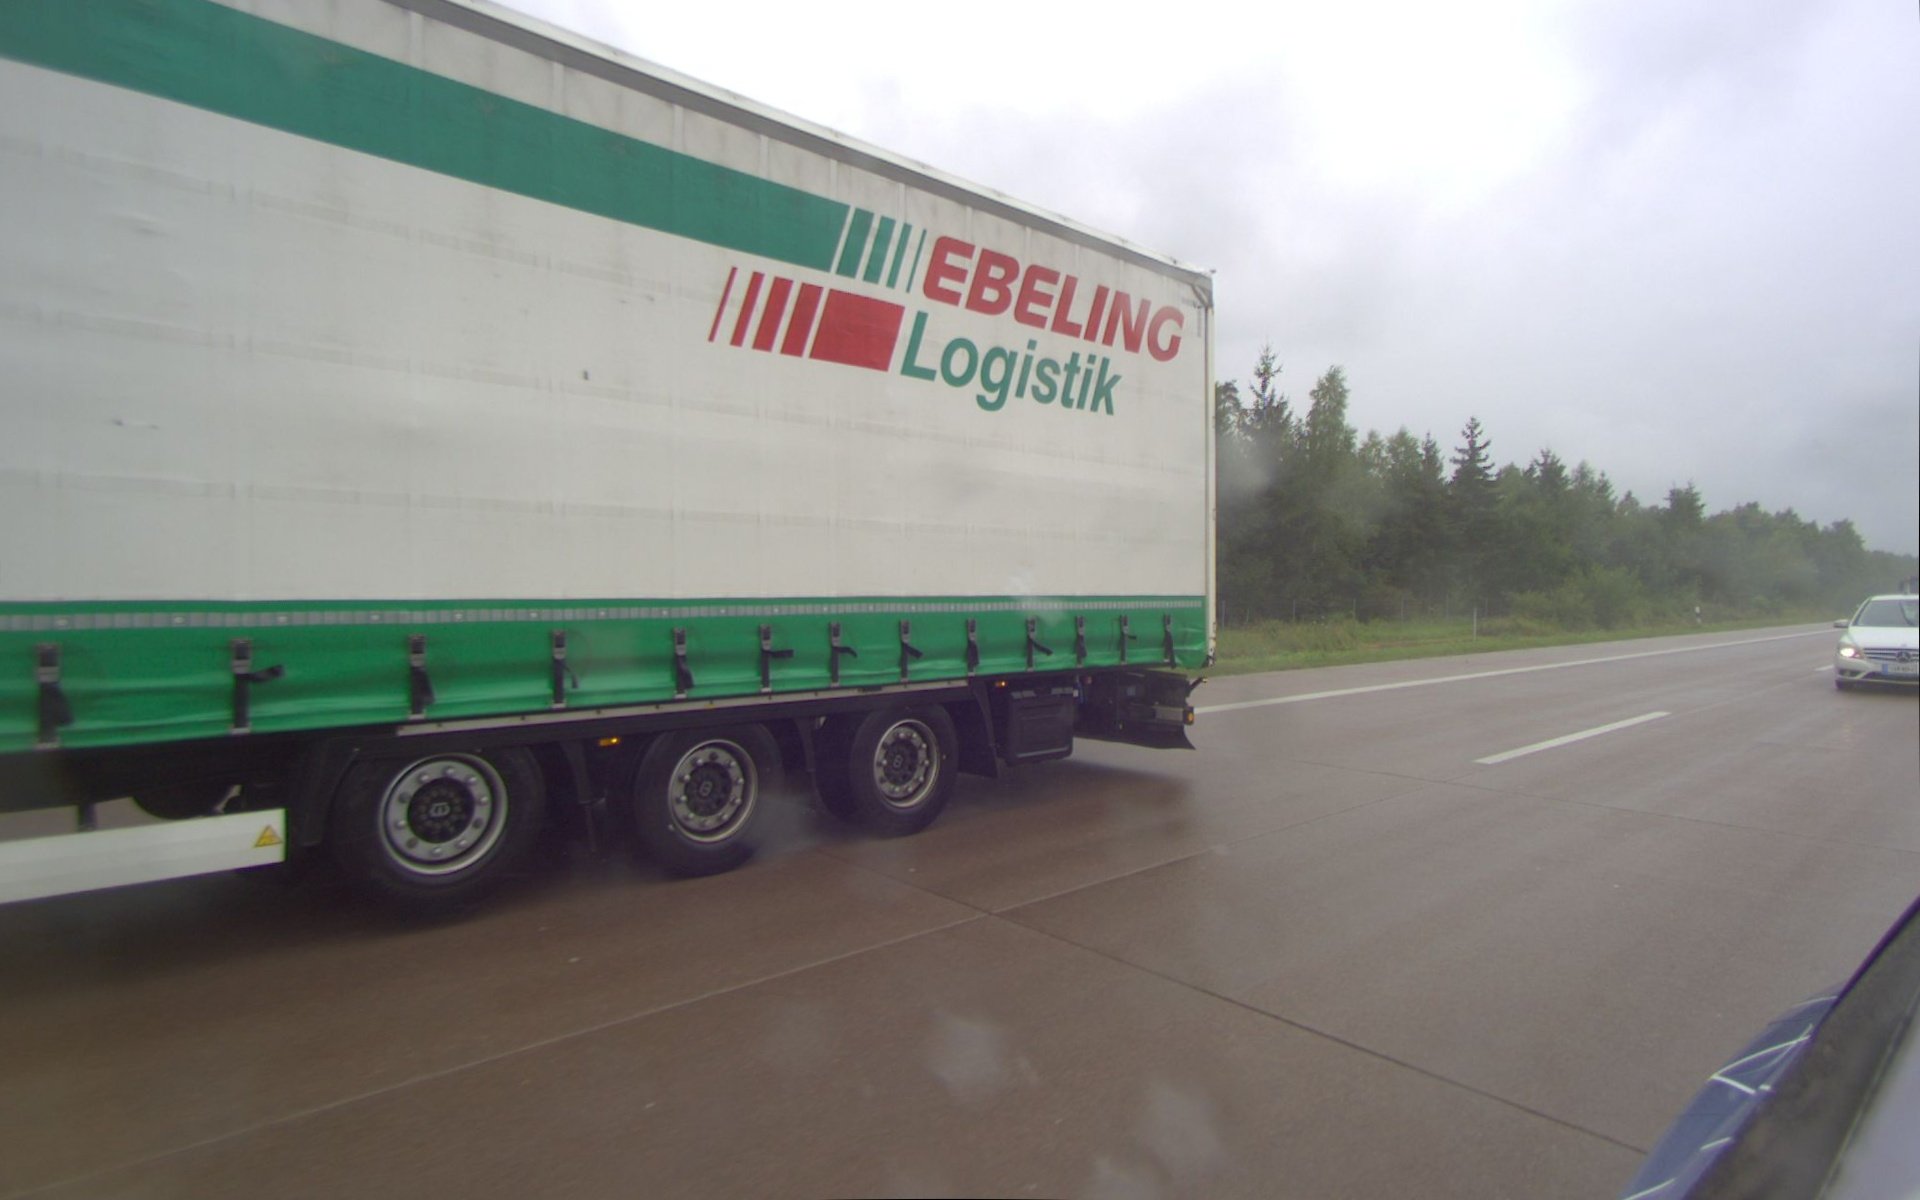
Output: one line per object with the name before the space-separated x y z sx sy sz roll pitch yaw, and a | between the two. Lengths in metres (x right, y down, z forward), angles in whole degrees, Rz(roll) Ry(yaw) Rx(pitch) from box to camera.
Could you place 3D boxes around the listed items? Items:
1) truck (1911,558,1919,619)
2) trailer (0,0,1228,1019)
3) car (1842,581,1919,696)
truck | 62.471 -0.694 63.614 7.816 3.777 3.239 0 0 -41
trailer | -3.629 -0.804 4.741 12.905 4.285 2.857 1 0 -42
car | 16.335 0.580 16.905 4.661 1.750 1.811 0 0 -41
